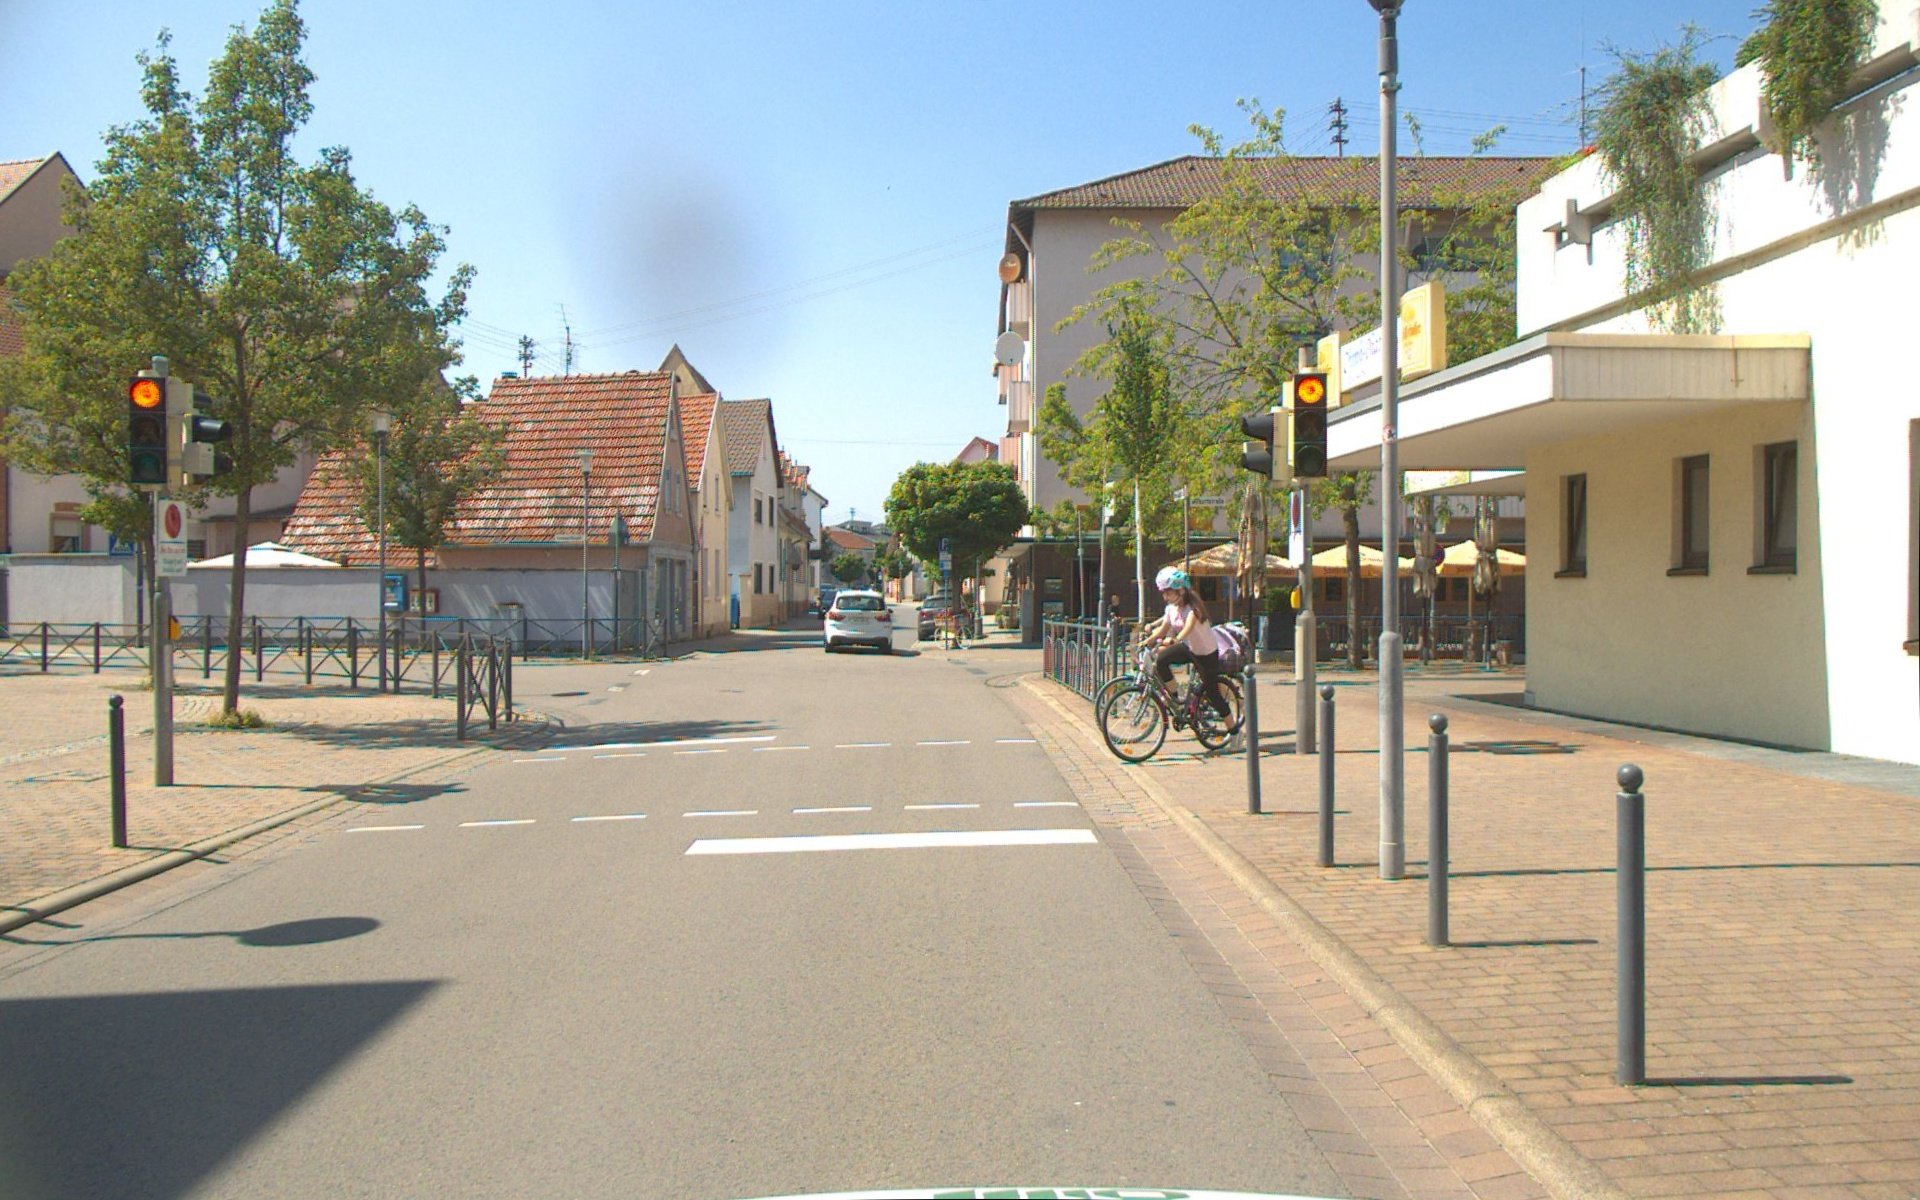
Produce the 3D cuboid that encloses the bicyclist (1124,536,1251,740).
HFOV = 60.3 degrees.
[{"bbox_3d":[1.876,0.299,13.677,0.750,1.609,0.665,-3,1,-25],"label":"bicyclist"}]

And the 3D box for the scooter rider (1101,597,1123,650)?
[{"bbox_3d":[3.728,0.574,40.544,0.505,1.308,0.418,0,0,11],"label":"scooter rider"}]

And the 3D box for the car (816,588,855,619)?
[{"bbox_3d":[-6.325,0.178,84.402,1.678,1.543,3.786,0,0,1],"label":"car"}]

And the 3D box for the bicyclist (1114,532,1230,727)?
[{"bbox_3d":[1.910,0.254,14.939,0.750,1.693,0.665,-2,0,-27],"label":"bicyclist"}]

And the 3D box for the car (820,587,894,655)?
[{"bbox_3d":[-2.801,0.522,44.394,1.798,1.680,3.995,1,1,-6],"label":"car"}]

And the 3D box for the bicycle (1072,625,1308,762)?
[{"bbox_3d":[1.916,0.742,13.695,1.867,0.974,0.670,-3,1,-27],"label":"bicycle"}]

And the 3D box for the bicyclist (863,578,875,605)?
[{"bbox_3d":[-5.258,-0.487,95.521,0.659,1.509,0.770,-1,0,-1],"label":"bicyclist"}]

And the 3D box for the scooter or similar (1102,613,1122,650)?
[{"bbox_3d":[3.734,0.764,40.543,0.371,0.889,0.891,0,0,12],"label":"scooter or similar"}]

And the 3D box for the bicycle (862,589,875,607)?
[{"bbox_3d":[-5.271,-0.102,95.491,0.650,1.024,1.897,-1,0,-1],"label":"bicycle"}]

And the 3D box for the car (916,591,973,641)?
[{"bbox_3d":[-0.462,0.500,54.268,1.768,1.528,4.001,0,1,1],"label":"car"}]

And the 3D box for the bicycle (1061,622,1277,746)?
[{"bbox_3d":[1.896,0.729,14.931,1.868,0.974,0.670,-3,1,-27],"label":"bicycle"}]

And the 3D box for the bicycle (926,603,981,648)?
[{"bbox_3d":[-0.179,0.690,45.547,0.523,1.214,1.648,0,0,-44],"label":"bicycle"}]
